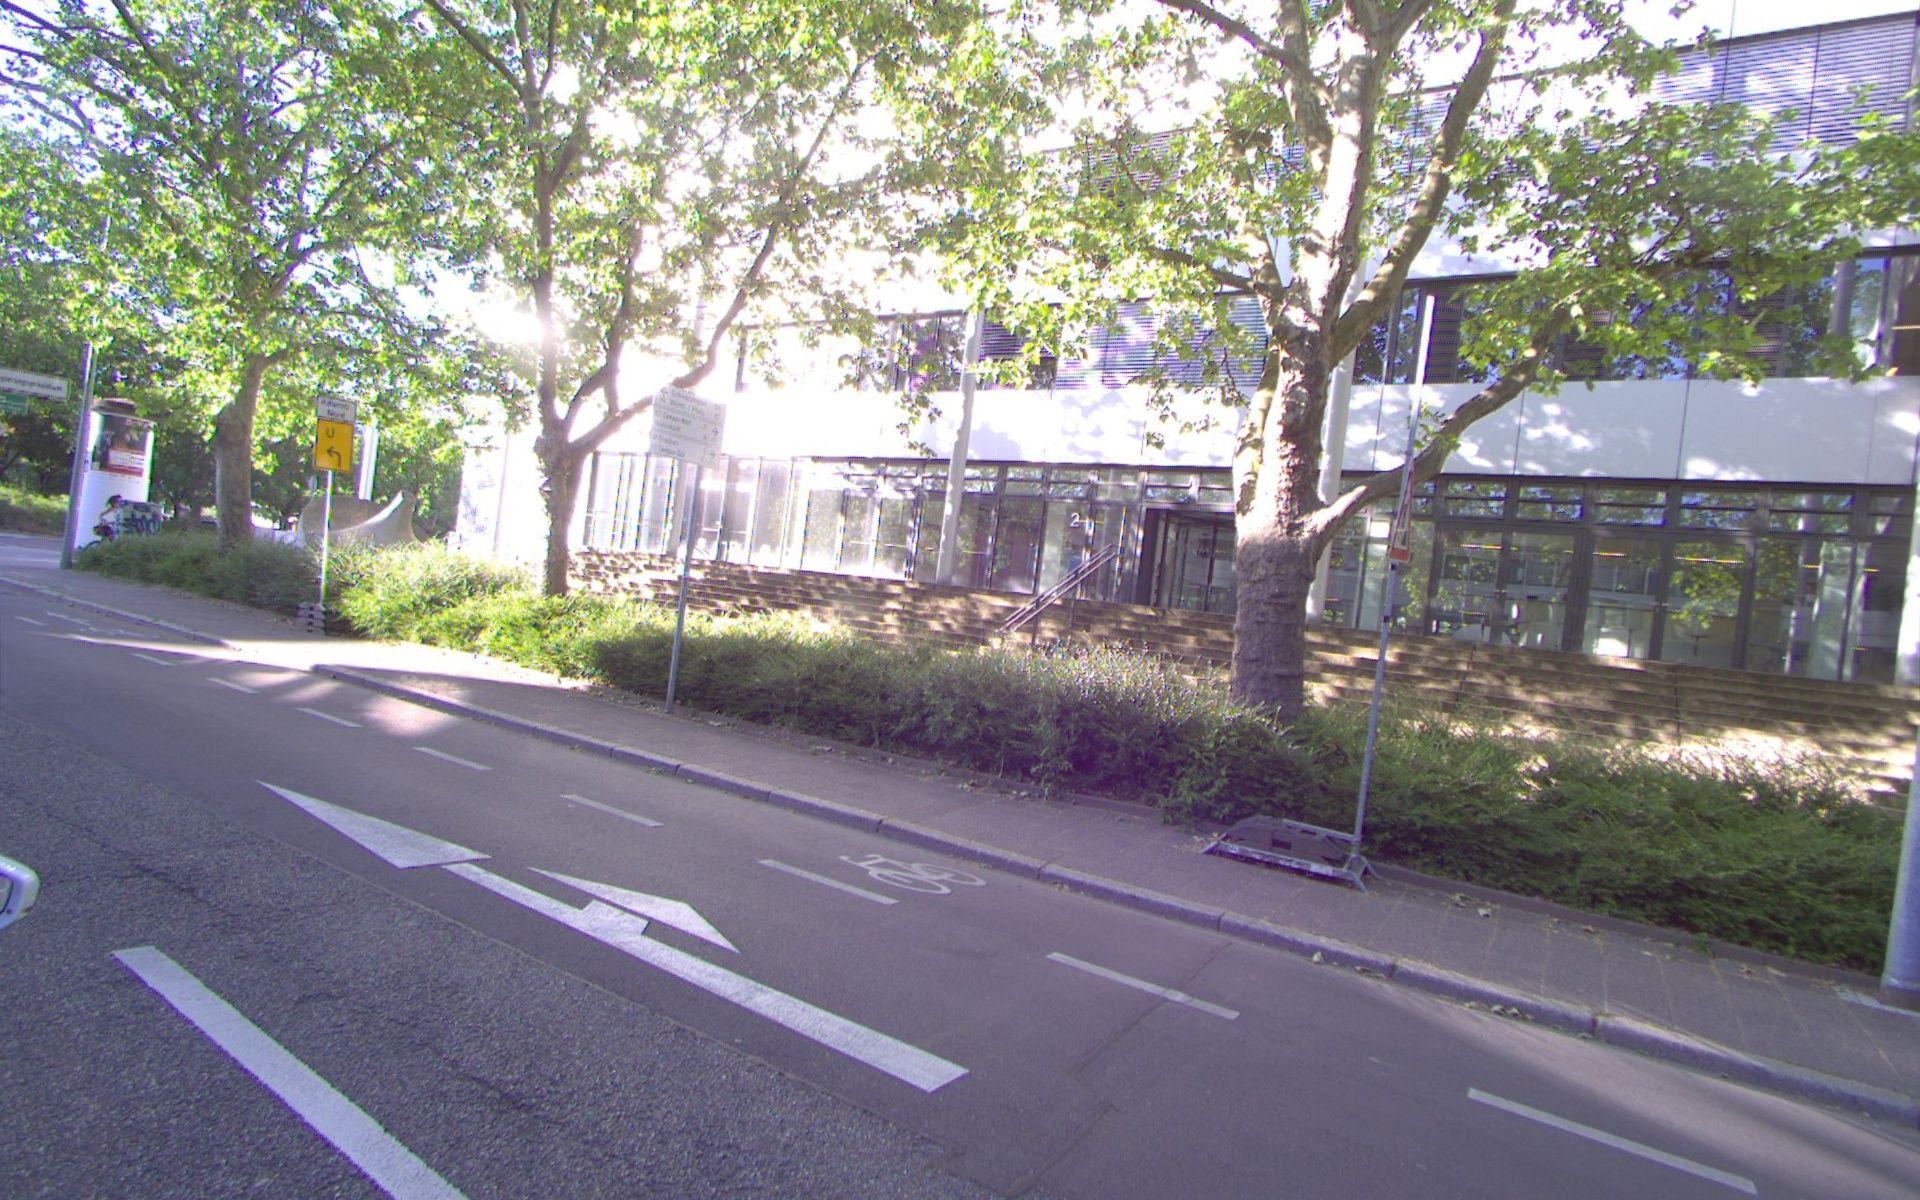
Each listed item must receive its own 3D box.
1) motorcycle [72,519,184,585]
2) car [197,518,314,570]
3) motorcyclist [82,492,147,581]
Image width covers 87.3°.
[{"bbox_3d":[-19.227,-1.094,23.283,0.712,1.257,1.782,6,-2,37],"label":"motorcycle"},{"bbox_3d":[-32.701,-2.564,46.824,1.708,1.792,3.996,7,-1,30],"label":"car"},{"bbox_3d":[-19.354,-1.449,23.035,0.662,1.885,0.823,6,-1,37],"label":"motorcyclist"}]
